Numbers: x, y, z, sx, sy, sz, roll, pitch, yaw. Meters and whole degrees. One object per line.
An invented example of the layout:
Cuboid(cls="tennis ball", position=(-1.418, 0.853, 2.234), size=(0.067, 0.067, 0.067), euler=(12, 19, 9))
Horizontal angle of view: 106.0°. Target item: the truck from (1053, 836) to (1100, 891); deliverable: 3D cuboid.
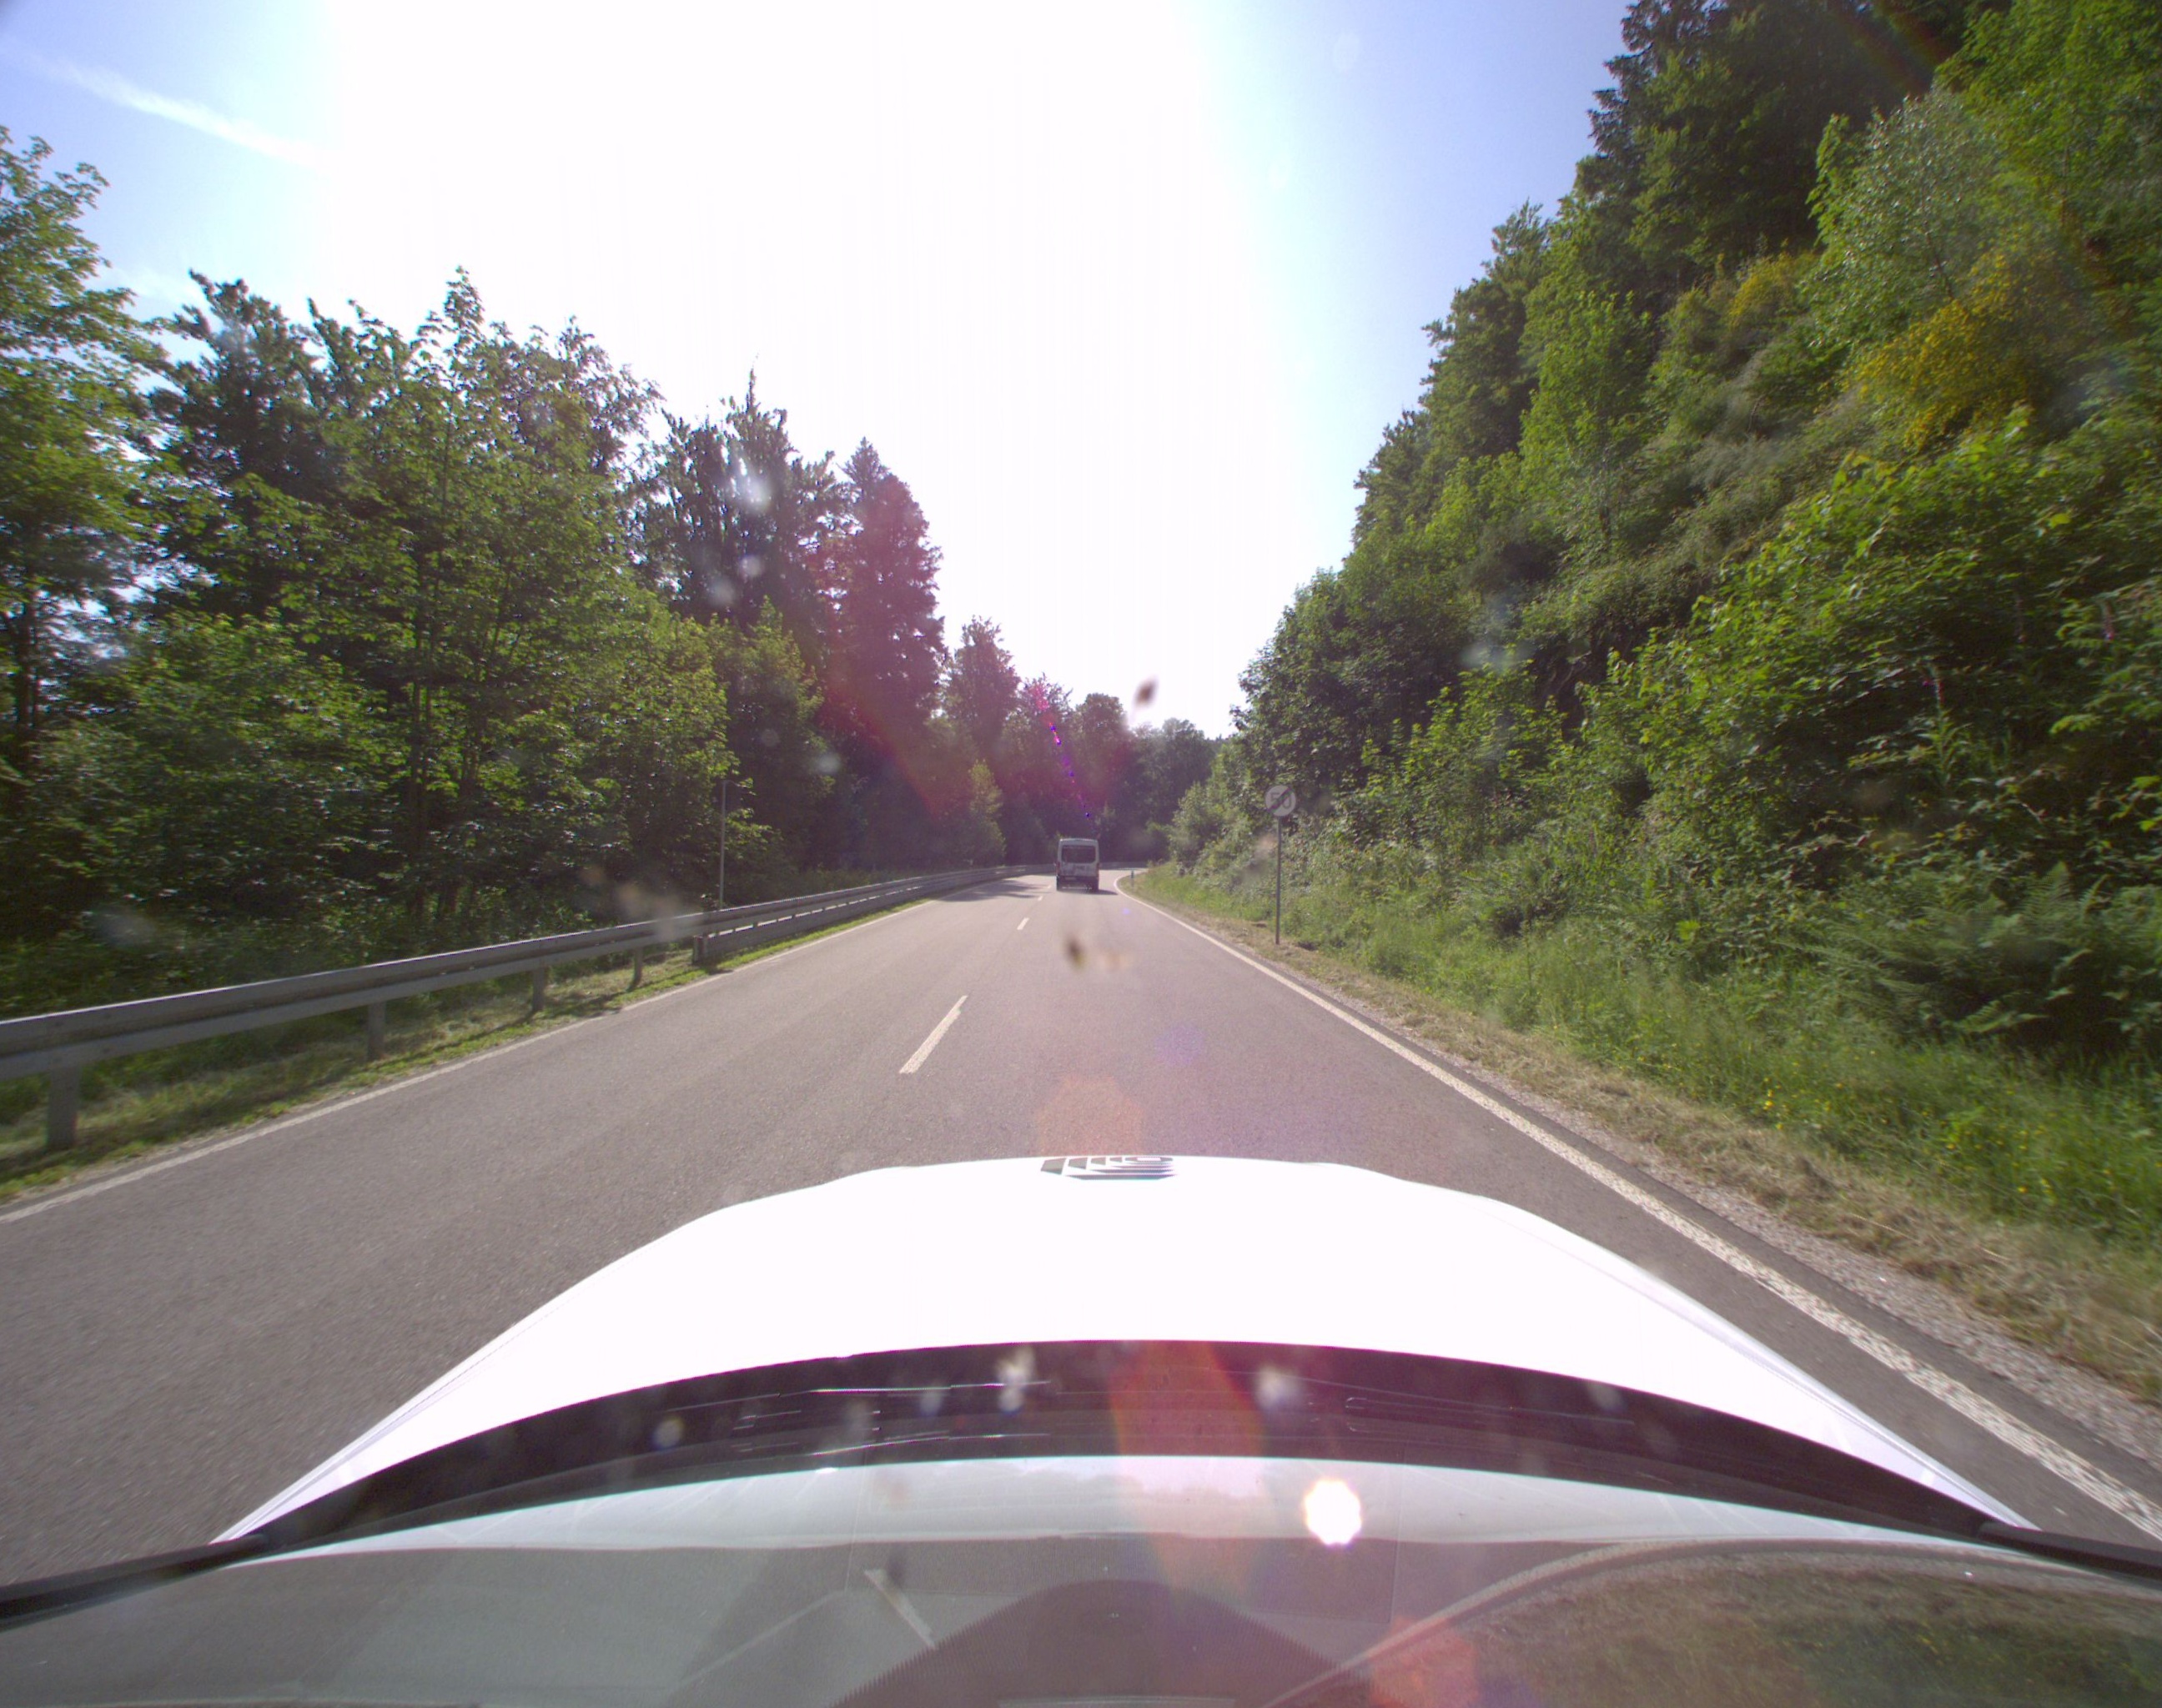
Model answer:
Cuboid(cls="truck", position=(-0.265, 0.461, 40.108), size=(2.110, 2.498, 5.355), euler=(1, 0, -2))
